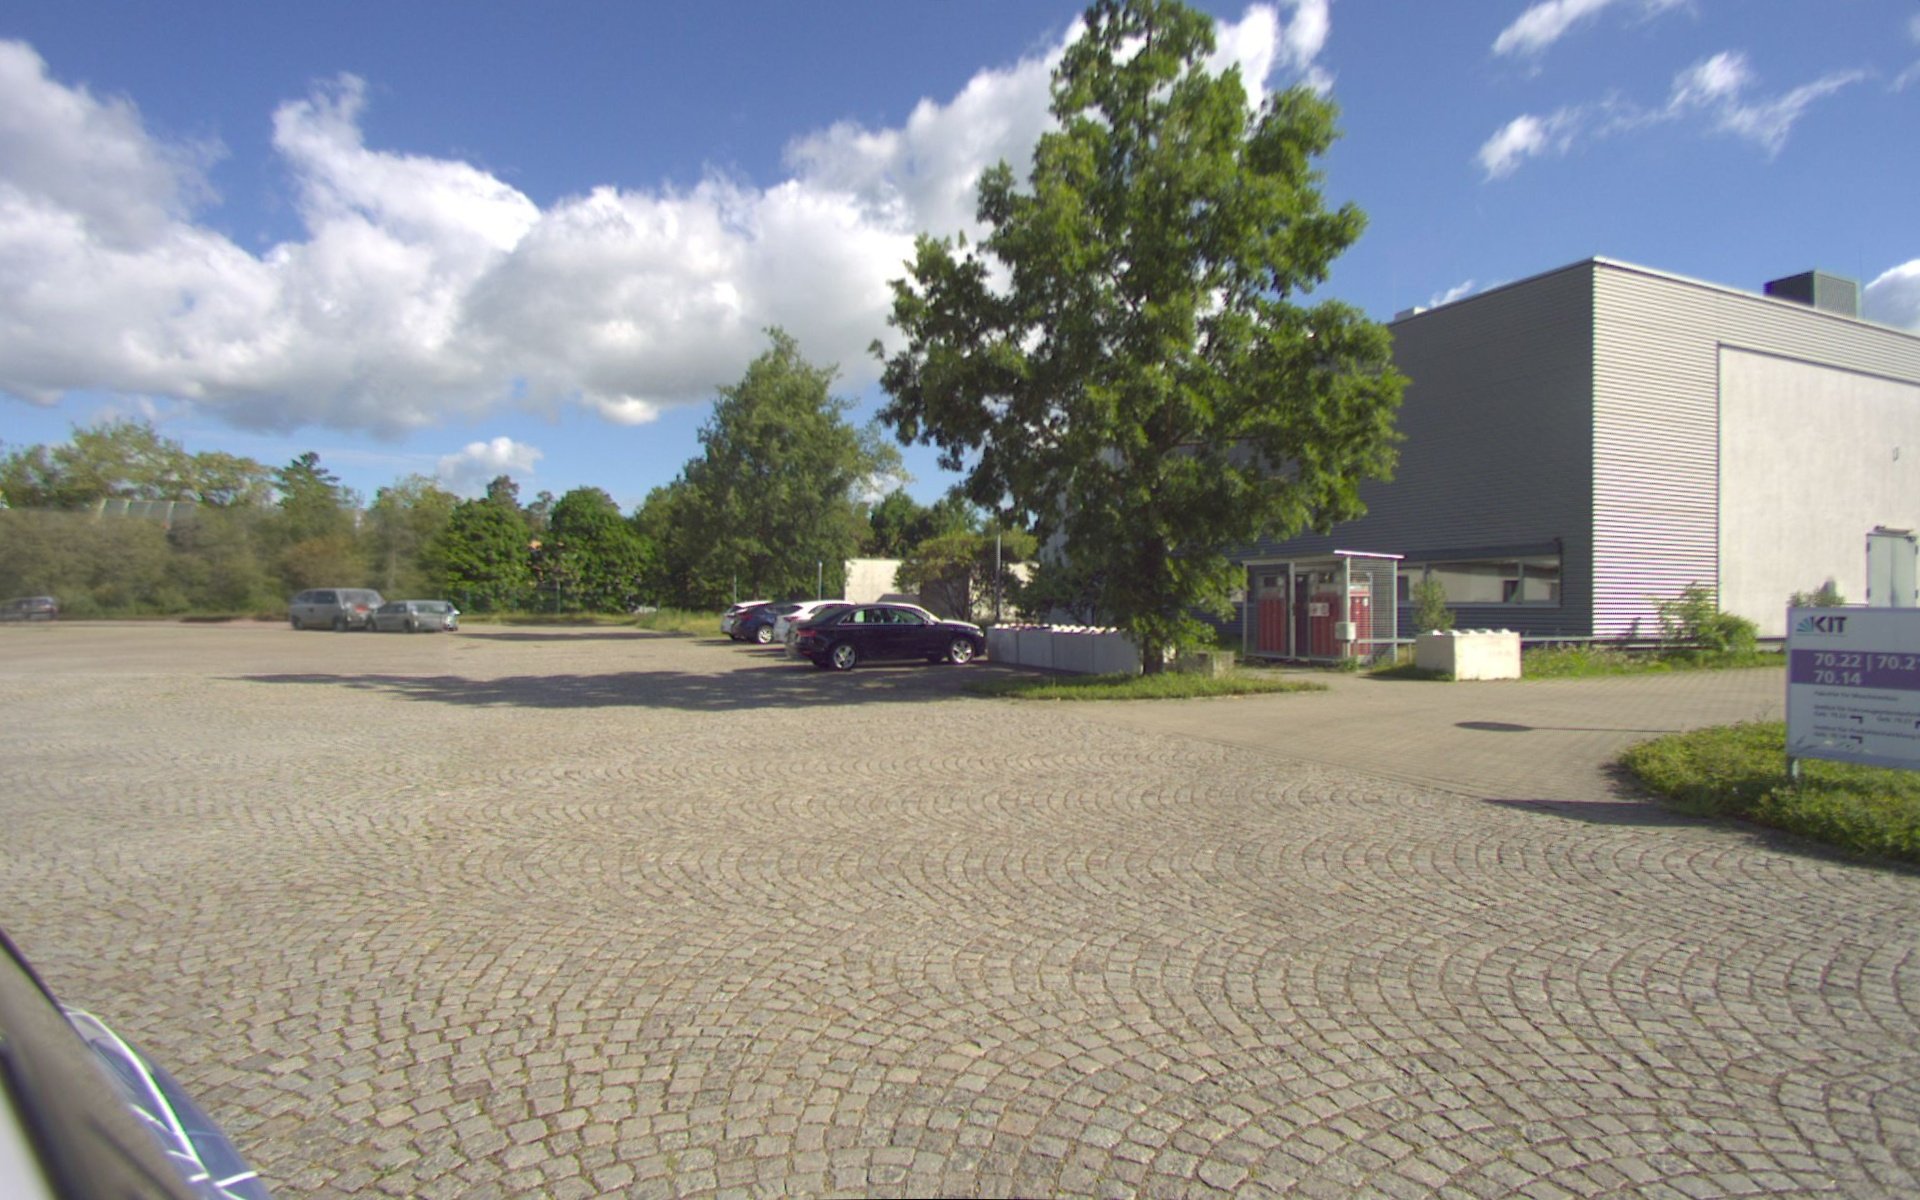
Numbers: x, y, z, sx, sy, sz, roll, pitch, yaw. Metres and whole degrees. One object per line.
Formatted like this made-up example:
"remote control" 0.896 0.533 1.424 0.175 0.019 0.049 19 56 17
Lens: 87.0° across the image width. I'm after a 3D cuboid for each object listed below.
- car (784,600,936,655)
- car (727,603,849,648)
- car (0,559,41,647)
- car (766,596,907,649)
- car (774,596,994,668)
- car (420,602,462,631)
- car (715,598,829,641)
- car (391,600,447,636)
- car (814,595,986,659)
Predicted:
"car" -2.798 0.737 28.229 3.857 1.382 1.734 -1 0 -23
"car" -6.007 0.857 35.314 3.857 1.428 1.698 -1 0 -23
"car" -28.018 0.092 27.996 2.053 2.502 5.256 0 0 -21
"car" -3.736 0.644 30.613 3.857 1.457 1.761 -1 0 -23
"car" -1.714 0.681 23.020 4.652 1.434 1.763 -1 0 -25
"car" -26.991 0.840 52.731 1.663 1.446 4.000 1 -1 -23
"car" -7.029 0.696 37.774 3.857 1.446 1.802 -1 0 -23
"car" -22.932 0.750 43.028 1.738 1.446 4.005 1 -1 -23
"car" -1.566 0.652 26.076 4.080 1.471 1.697 -1 0 -19
